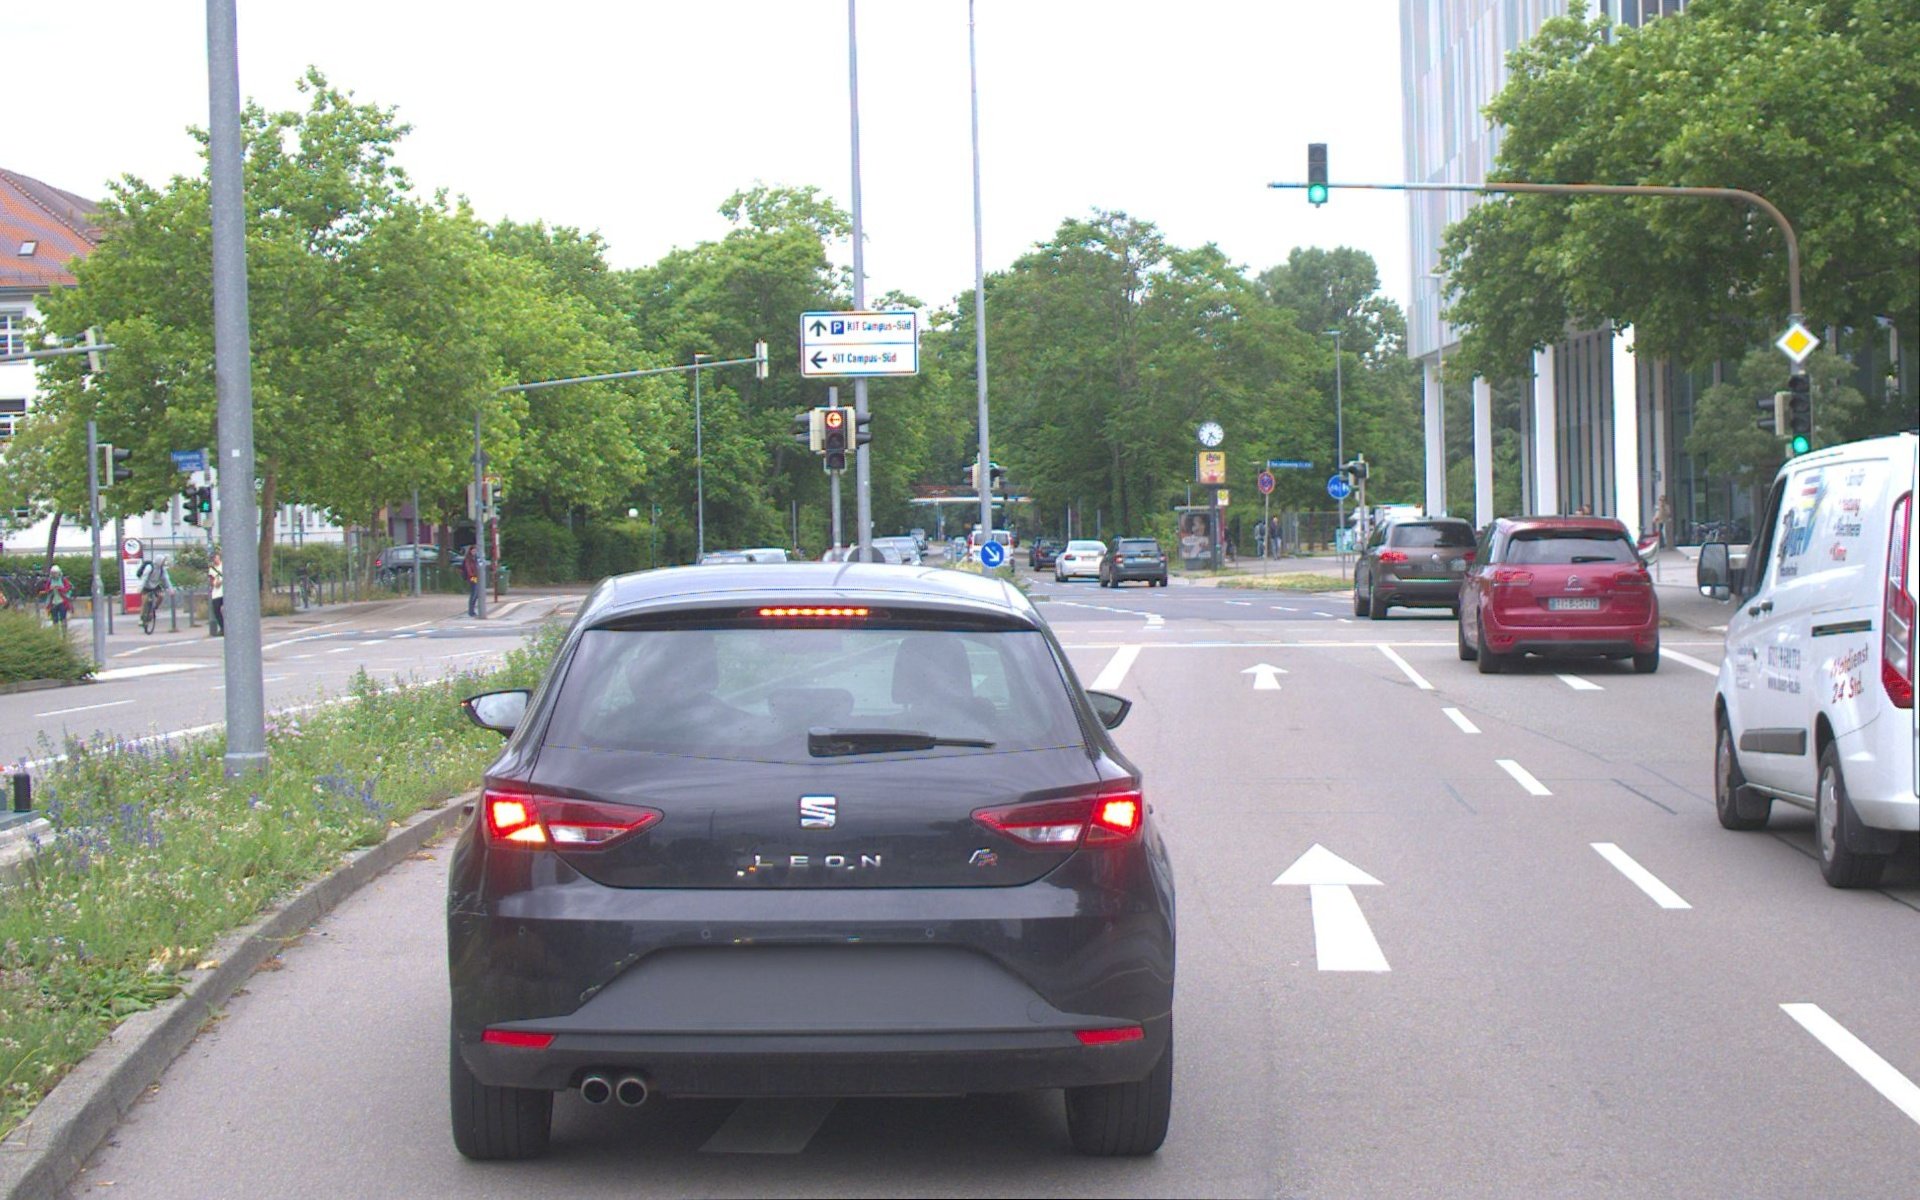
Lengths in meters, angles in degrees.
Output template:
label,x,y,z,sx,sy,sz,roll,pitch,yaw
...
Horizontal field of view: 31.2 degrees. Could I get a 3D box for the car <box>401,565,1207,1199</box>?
label,x,y,z,sx,sy,sz,roll,pitch,yaw
car,-0.380,0.628,9.376,1.753,1.427,3.769,0,1,-1

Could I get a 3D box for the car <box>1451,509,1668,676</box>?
label,x,y,z,sx,sy,sz,roll,pitch,yaw
car,6.196,-0.126,35.886,1.949,1.618,3.748,0,2,6

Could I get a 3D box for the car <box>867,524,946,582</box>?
label,x,y,z,sx,sy,sz,roll,pitch,yaw
car,-1.622,-1.444,105.509,1.921,1.659,4.398,-3,1,4

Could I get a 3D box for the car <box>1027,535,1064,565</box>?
label,x,y,z,sx,sy,sz,roll,pitch,yaw
car,3.724,-2.208,150.472,1.505,1.189,3.163,-3,1,1

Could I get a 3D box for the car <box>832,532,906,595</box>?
label,x,y,z,sx,sy,sz,roll,pitch,yaw
car,-2.284,-0.919,87.408,1.764,1.455,4.792,-3,0,-1

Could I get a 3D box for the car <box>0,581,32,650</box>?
label,x,y,z,sx,sy,sz,roll,pitch,yaw
car,-21.590,0.342,72.405,3.655,1.219,1.564,-1,8,-2

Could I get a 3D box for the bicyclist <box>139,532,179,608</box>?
label,x,y,z,sx,sy,sz,roll,pitch,yaw
bicyclist,-17.275,-0.654,74.156,0.666,1.630,0.961,0,0,-2

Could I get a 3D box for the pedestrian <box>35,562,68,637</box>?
label,x,y,z,sx,sy,sz,roll,pitch,yaw
pedestrian,-19.122,-0.004,72.359,0.570,1.521,0.849,-2,-3,-19

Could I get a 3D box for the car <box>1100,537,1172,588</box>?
label,x,y,z,sx,sy,sz,roll,pitch,yaw
car,5.145,-1.111,101.079,1.899,1.349,3.883,-3,1,1

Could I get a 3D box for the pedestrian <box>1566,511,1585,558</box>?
label,x,y,z,sx,sy,sz,roll,pitch,yaw
pedestrian,18.351,-1.950,102.552,0.472,1.357,0.445,-3,1,15

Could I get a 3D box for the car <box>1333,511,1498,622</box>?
label,x,y,z,sx,sy,sz,roll,pitch,yaw
car,7.463,-0.583,56.703,1.914,1.658,4.115,-3,1,-3

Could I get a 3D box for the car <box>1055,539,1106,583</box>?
label,x,y,z,sx,sy,sz,roll,pitch,yaw
car,4.078,-1.329,116.883,1.616,1.349,4.000,-3,1,1

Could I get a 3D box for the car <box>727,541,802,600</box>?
label,x,y,z,sx,sy,sz,roll,pitch,yaw
car,-5.279,-0.822,93.414,1.705,1.426,4.227,-3,1,0

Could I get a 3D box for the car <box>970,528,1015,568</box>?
label,x,y,z,sx,sy,sz,roll,pitch,yaw
car,1.295,-2.089,137.662,1.695,1.498,4.010,-3,1,1

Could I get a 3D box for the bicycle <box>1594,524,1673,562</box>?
label,x,y,z,sx,sy,sz,roll,pitch,yaw
bicycle,17.634,-1.485,90.052,1.885,0.895,0.697,-3,1,-16

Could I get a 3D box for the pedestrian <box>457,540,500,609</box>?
label,x,y,z,sx,sy,sz,roll,pitch,yaw
pedestrian,-11.490,-0.614,82.026,0.874,1.580,0.543,-3,1,-2

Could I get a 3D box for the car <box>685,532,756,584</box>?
label,x,y,z,sx,sy,sz,roll,pitch,yaw
car,-8.545,-1.509,122.891,1.907,1.711,4.000,-3,1,4

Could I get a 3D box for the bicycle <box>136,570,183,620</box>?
label,x,y,z,sx,sy,sz,roll,pitch,yaw
bicycle,-17.285,-0.118,74.262,0.666,1.058,1.619,0,0,-2

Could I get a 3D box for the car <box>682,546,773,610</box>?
label,x,y,z,sx,sy,sz,roll,pitch,yaw
car,-5.625,-0.556,83.583,1.608,1.376,3.808,-3,1,4

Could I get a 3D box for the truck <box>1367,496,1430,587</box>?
label,x,y,z,sx,sy,sz,roll,pitch,yaw
truck,11.273,-1.534,88.433,1.318,2.235,3.401,-3,1,4

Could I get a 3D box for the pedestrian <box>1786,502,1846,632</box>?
label,x,y,z,sx,sy,sz,roll,pitch,yaw
pedestrian,11.616,-0.444,46.651,0.455,1.733,0.556,-4,2,-34

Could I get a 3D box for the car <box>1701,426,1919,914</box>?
label,x,y,z,sx,sy,sz,roll,pitch,yaw
car,4.729,0.233,15.930,1.967,1.965,4.343,0,1,5

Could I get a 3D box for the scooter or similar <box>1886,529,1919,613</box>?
label,x,y,z,sx,sy,sz,roll,pitch,yaw
scooter or similar,14.035,-0.441,50.398,0.433,1.175,1.701,-3,1,29

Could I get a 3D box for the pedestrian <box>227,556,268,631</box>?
label,x,y,z,sx,sy,sz,roll,pitch,yaw
pedestrian,-15.357,-0.135,74.089,0.789,1.553,0.699,-1,-2,-16

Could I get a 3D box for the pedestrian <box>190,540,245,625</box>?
label,x,y,z,sx,sy,sz,roll,pitch,yaw
pedestrian,-15.680,-0.368,72.600,0.840,1.734,0.830,-1,-4,-34
